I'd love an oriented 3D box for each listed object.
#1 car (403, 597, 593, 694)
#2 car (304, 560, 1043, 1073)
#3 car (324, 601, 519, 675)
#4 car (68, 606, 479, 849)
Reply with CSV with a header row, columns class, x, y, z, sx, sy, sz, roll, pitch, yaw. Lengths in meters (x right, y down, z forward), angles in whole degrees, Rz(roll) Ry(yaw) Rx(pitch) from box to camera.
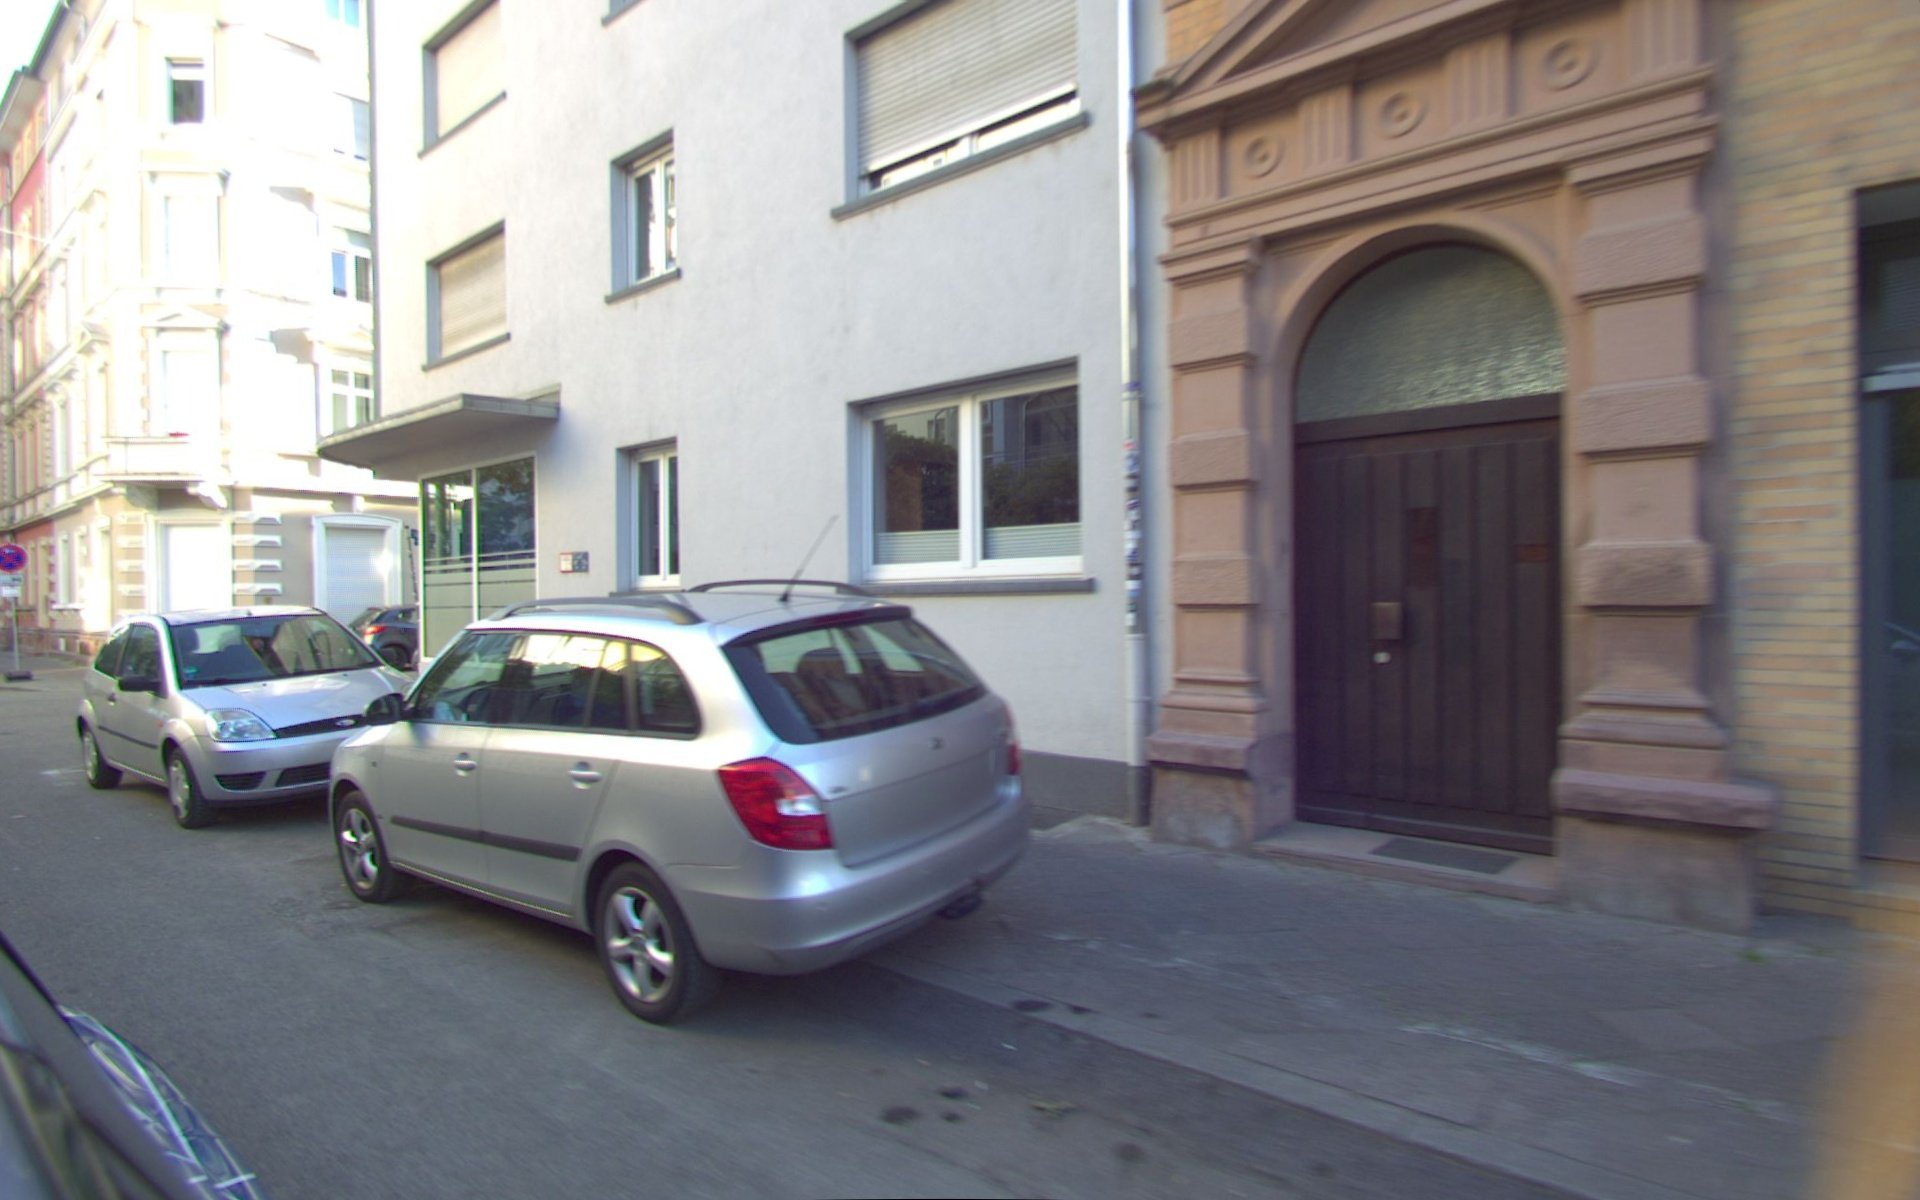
class,x,y,z,sx,sy,sz,roll,pitch,yaw
car,-8.435,0.770,18.567,1.647,1.577,2.727,-1,0,40
car,-1.546,0.655,4.789,3.594,1.519,1.540,-1,2,39
car,-12.194,0.803,23.080,1.683,1.490,3.548,-1,0,34
car,-5.439,0.801,7.886,3.550,1.441,1.617,-1,0,38
